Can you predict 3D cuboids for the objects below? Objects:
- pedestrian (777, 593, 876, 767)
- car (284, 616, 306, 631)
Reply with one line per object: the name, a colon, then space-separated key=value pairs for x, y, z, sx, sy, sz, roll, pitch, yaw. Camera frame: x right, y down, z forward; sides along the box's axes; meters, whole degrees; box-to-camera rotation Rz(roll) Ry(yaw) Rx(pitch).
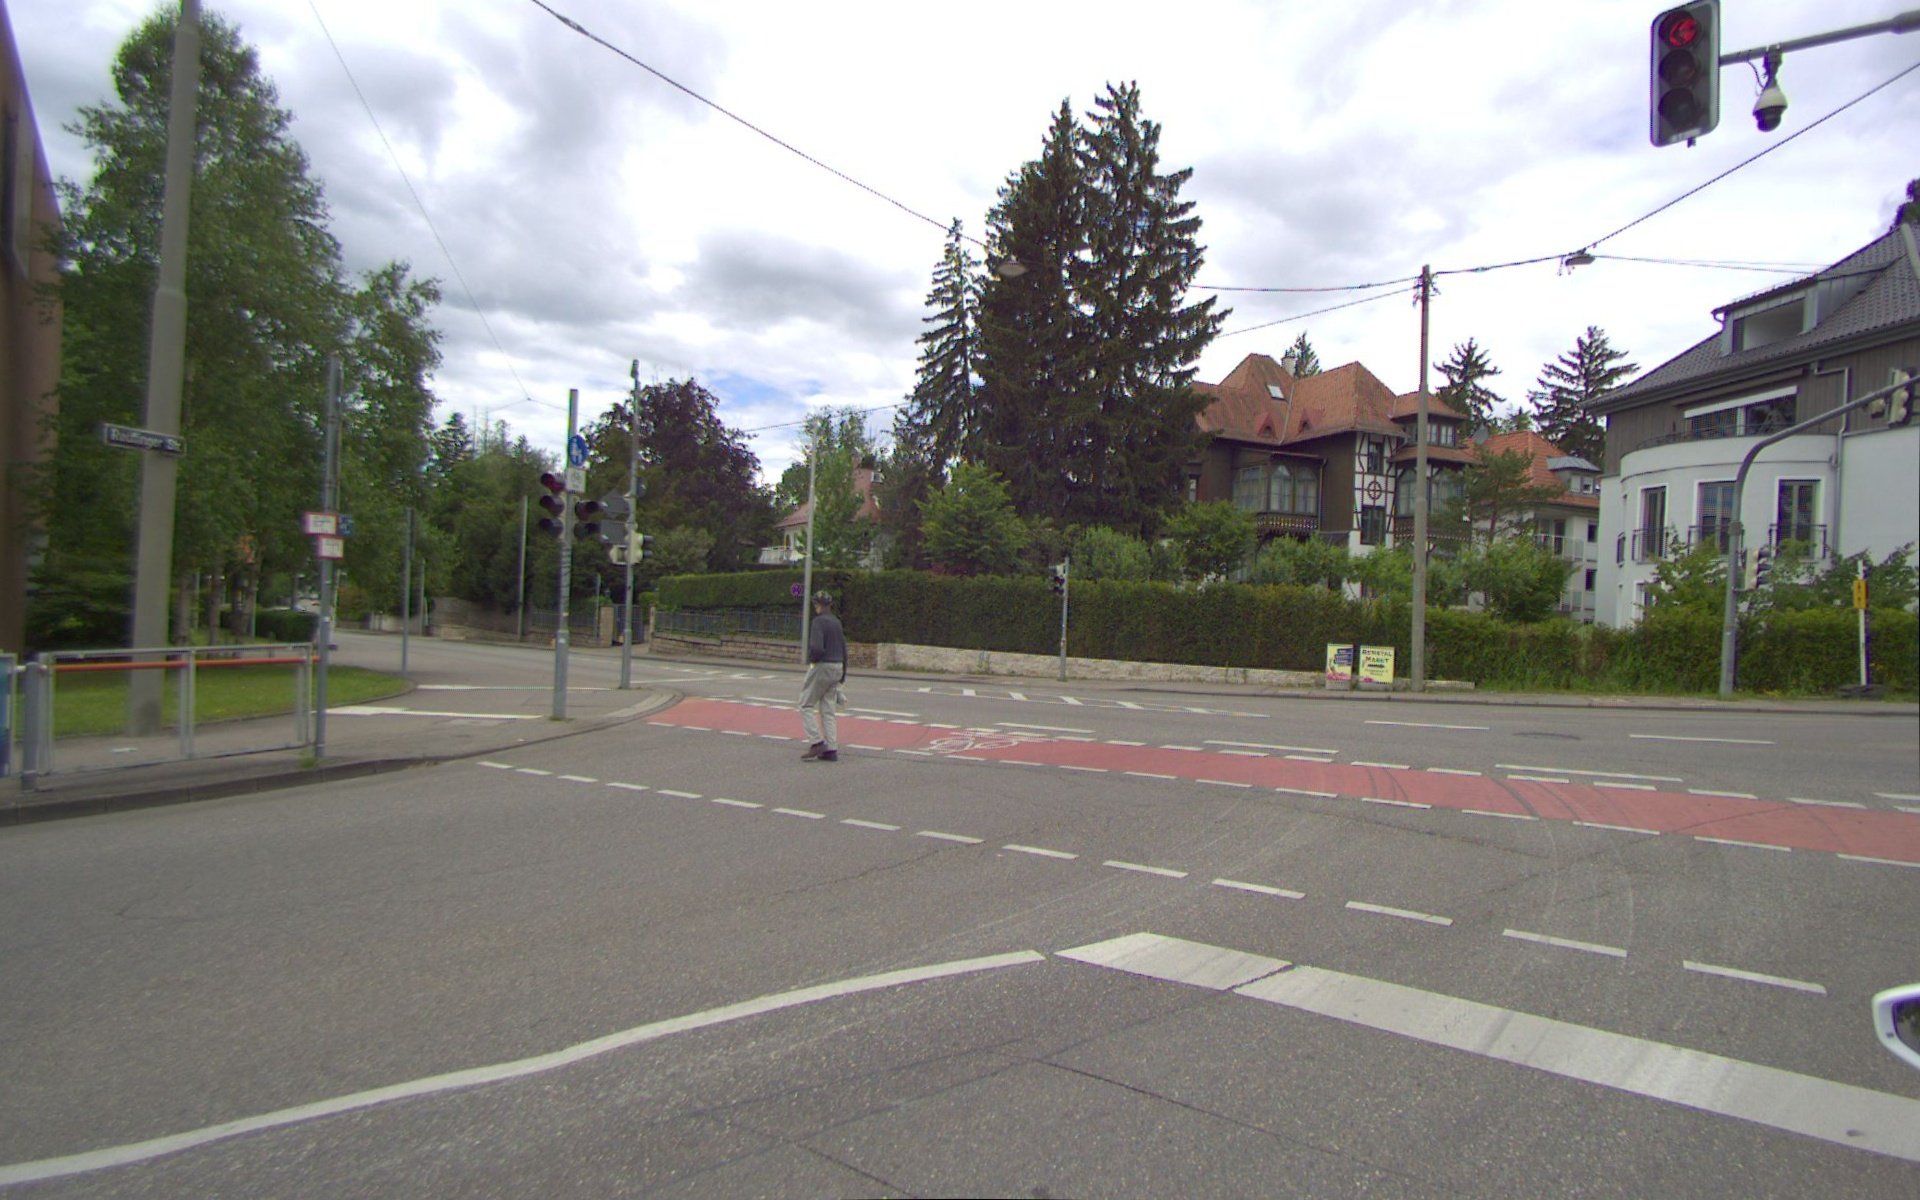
pedestrian: x=-1.323 y=0.768 z=10.025 sx=0.726 sy=1.655 sz=0.683 roll=-1 pitch=-1 yaw=22
car: x=-79.183 y=2.805 z=119.552 sx=1.798 sy=1.734 sz=3.990 roll=2 pitch=-2 yaw=-39
